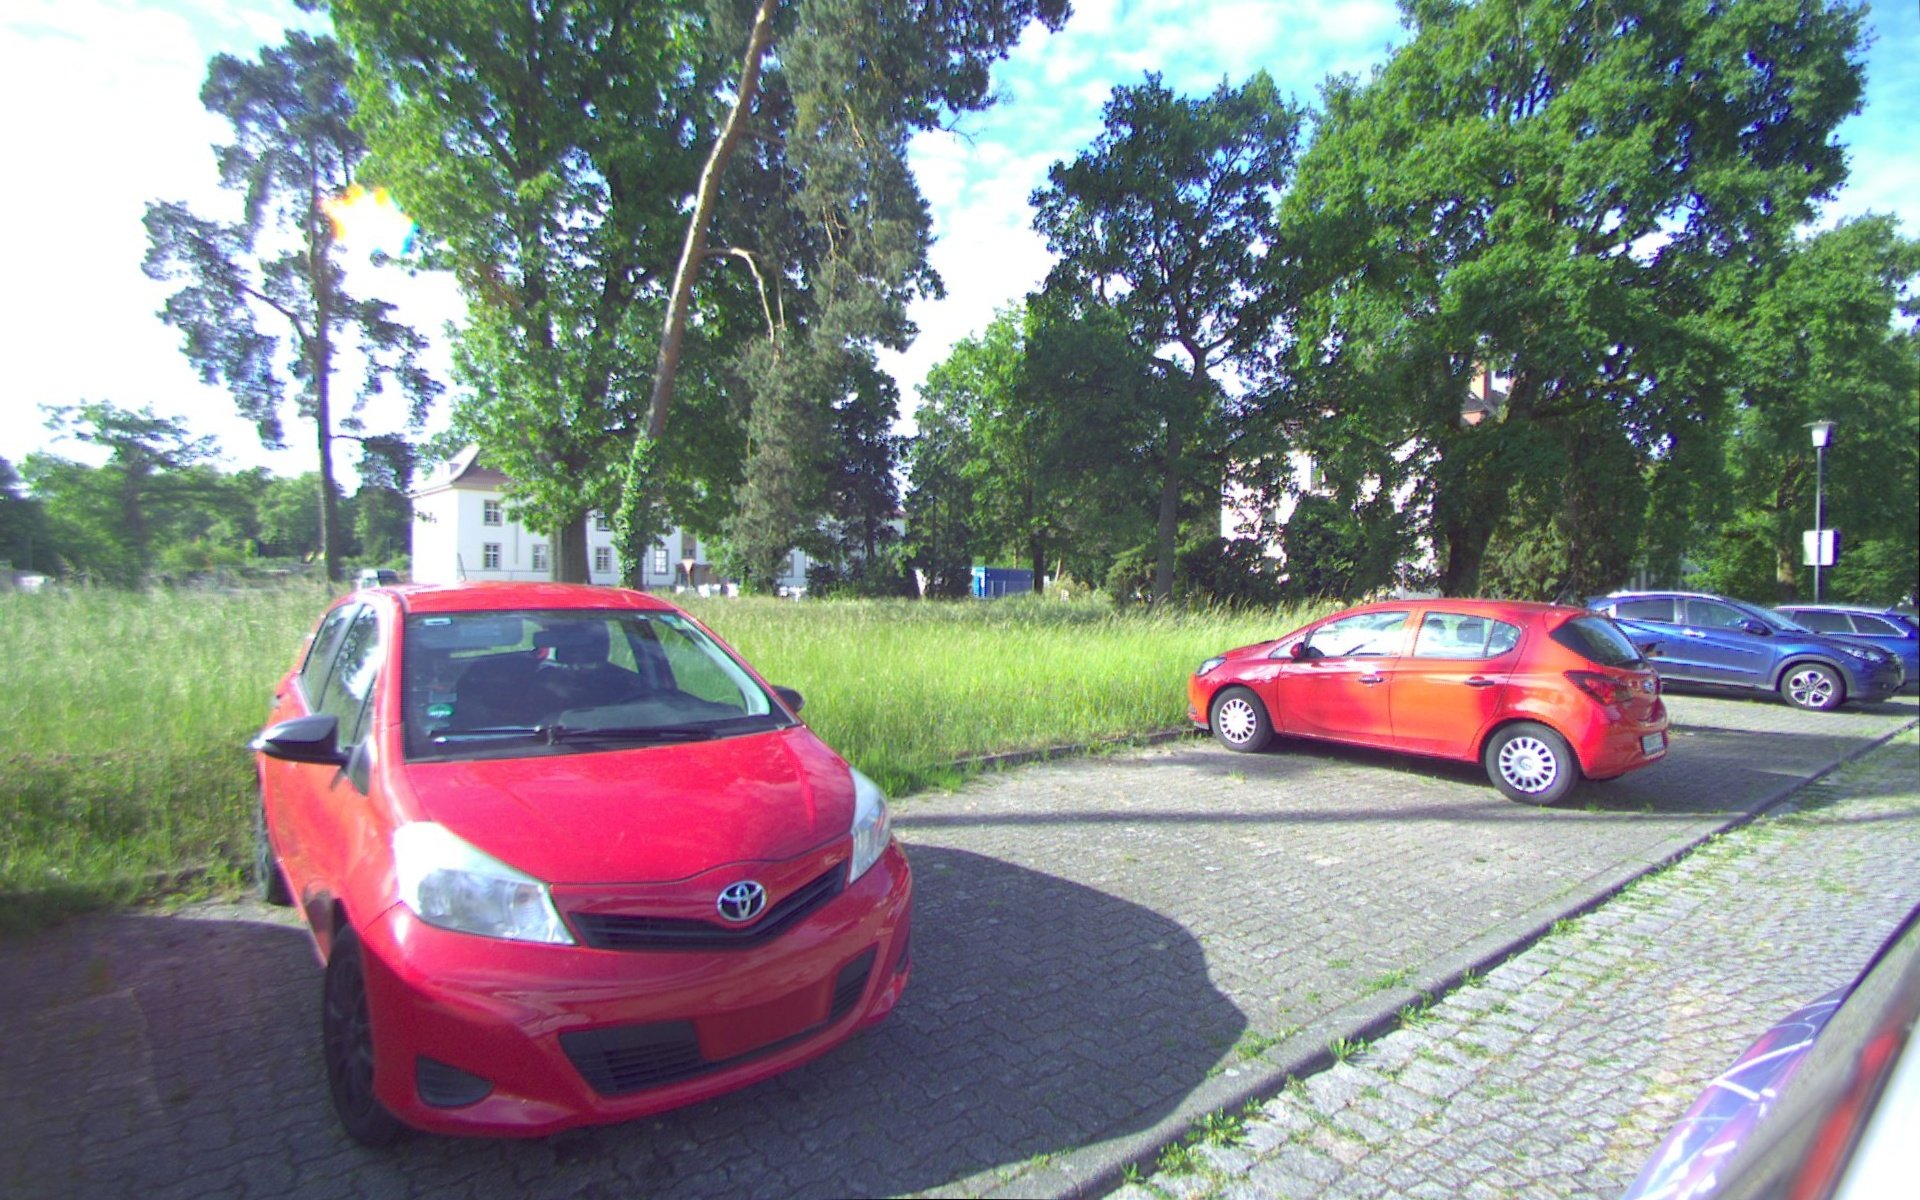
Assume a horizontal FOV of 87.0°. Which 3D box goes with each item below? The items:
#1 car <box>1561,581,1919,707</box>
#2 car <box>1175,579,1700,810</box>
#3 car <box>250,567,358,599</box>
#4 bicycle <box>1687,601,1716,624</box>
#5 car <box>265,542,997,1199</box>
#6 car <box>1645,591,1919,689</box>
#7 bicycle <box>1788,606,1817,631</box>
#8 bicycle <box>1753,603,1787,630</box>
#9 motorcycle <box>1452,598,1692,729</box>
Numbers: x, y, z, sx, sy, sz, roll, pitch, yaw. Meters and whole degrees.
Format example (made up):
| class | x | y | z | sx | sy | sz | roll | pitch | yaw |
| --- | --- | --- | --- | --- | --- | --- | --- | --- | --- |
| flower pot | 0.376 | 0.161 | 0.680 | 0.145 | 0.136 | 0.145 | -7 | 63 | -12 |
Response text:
| class | x | y | z | sx | sy | sz | roll | pitch | yaw |
| --- | --- | --- | --- | --- | --- | --- | --- | --- | --- |
| car | 11.747 | 0.545 | 15.350 | 1.720 | 1.611 | 4.185 | 0 | 1 | -40 |
| car | 3.956 | 0.619 | 8.891 | 1.617 | 1.497 | 3.834 | 0 | 2 | -41 |
| car | -45.596 | -1.189 | 70.475 | 5.894 | 2.198 | 2.378 | 0 | 1 | -5 |
| bicycle | 34.262 | 0.560 | 46.793 | 0.700 | 1.029 | 1.023 | 1 | 1 | 12 |
| car | -1.702 | 0.605 | 4.191 | 1.616 | 1.549 | 3.771 | 0 | 1 | -39 |
| car | 15.296 | 0.653 | 18.327 | 1.682 | 1.425 | 4.463 | 0 | 3 | -37 |
| bicycle | 33.801 | 0.723 | 40.597 | 1.121 | 0.946 | 0.746 | 0 | 1 | -44 |
| bicycle | 32.888 | 0.659 | 41.075 | 1.231 | 1.029 | 0.711 | 0 | 1 | -33 |
| motorcycle | 7.181 | 0.682 | 12.010 | 0.713 | 1.336 | 2.304 | 0 | 2 | -40 |
